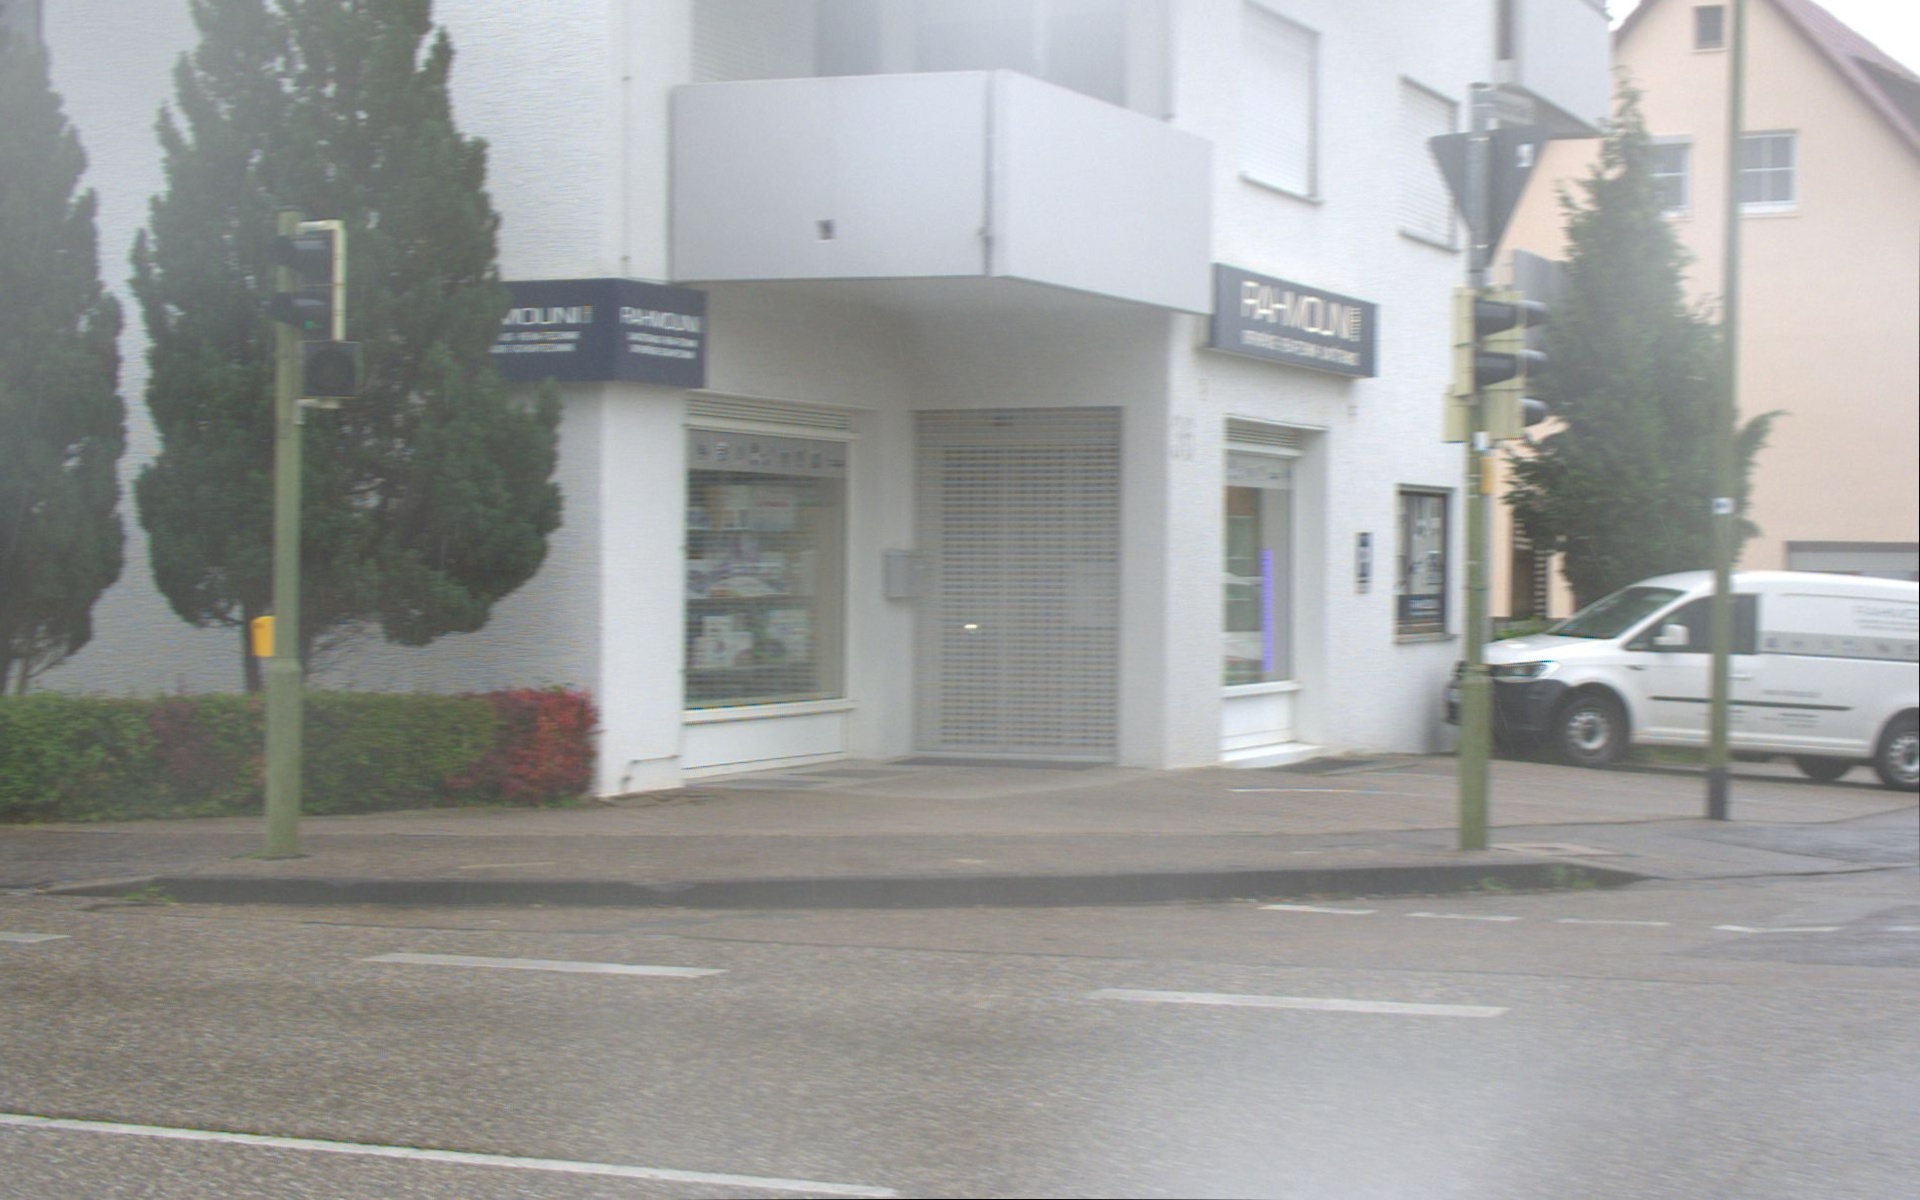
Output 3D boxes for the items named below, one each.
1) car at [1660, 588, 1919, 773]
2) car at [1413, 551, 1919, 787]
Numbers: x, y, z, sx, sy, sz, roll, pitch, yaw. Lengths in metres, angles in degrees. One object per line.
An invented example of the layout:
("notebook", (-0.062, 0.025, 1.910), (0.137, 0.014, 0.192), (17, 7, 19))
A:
("car", (9.982, 0.867, 36.440), (4.605, 1.883, 1.964), (1, -2, -13))
("car", (6.546, 0.645, 30.122), (4.712, 1.772, 1.773), (4, -3, -13))
